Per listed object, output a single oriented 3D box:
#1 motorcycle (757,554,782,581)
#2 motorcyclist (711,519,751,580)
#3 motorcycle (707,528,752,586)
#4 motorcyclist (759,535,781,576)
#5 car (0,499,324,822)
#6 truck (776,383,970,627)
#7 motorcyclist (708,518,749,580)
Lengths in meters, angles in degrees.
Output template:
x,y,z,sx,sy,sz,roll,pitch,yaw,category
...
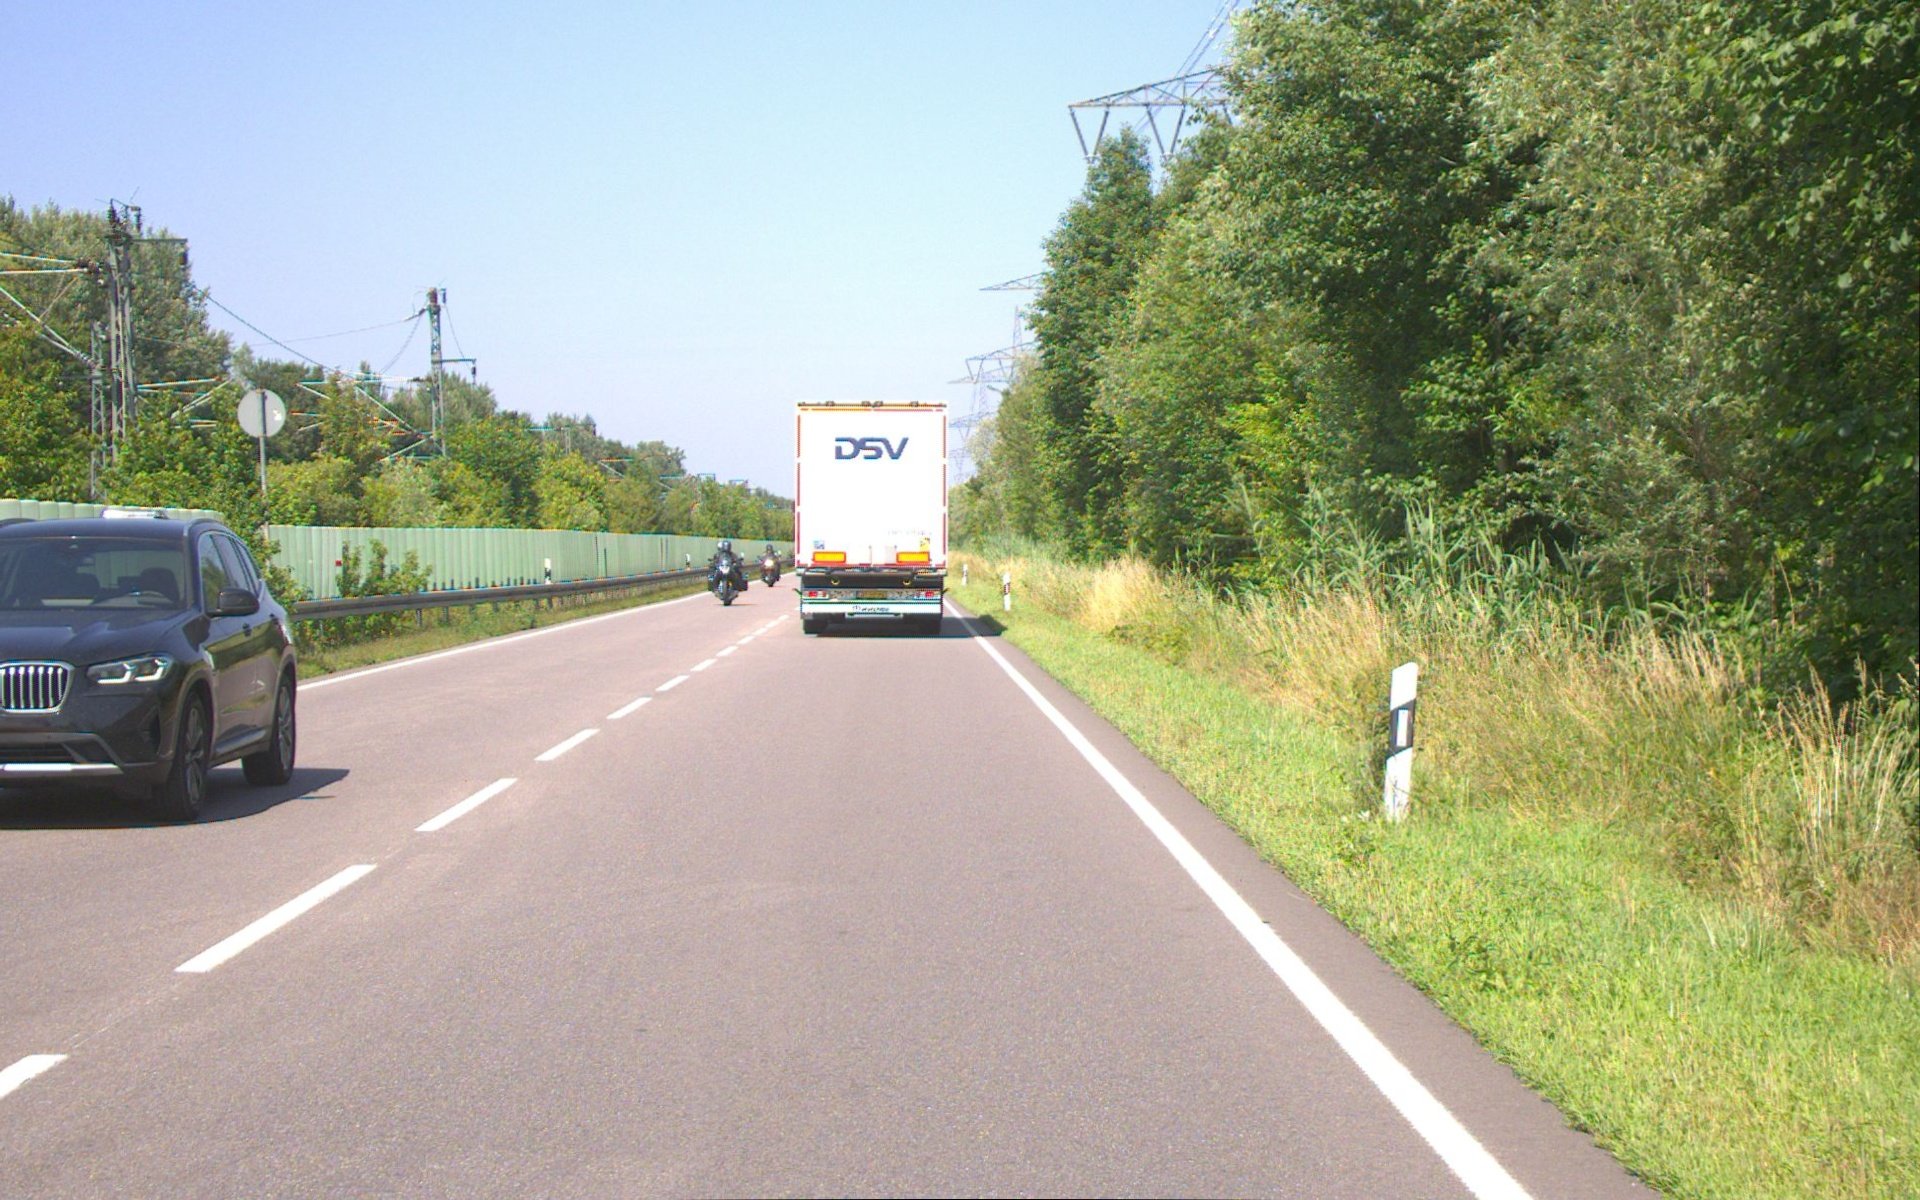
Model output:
x,y,z,sx,sy,sz,roll,pitch,yaw,category
-7.354,-1.249,132.873,0.754,1.010,2.721,1,1,0,motorcycle
-6.119,-1.356,92.041,0.959,1.604,1.003,1,0,0,motorcyclist
-6.129,-1.133,91.412,0.968,1.491,2.630,1,1,0,motorcycle
-7.349,-1.708,132.729,0.758,1.577,1.003,1,0,0,motorcyclist
-5.057,0.272,20.286,1.814,1.688,4.706,0,1,-1,car
-1.602,-1.680,63.033,3.192,4.029,12.008,0,1,-2,truck
-6.126,-1.348,91.032,0.959,1.604,1.003,1,0,0,motorcyclist
